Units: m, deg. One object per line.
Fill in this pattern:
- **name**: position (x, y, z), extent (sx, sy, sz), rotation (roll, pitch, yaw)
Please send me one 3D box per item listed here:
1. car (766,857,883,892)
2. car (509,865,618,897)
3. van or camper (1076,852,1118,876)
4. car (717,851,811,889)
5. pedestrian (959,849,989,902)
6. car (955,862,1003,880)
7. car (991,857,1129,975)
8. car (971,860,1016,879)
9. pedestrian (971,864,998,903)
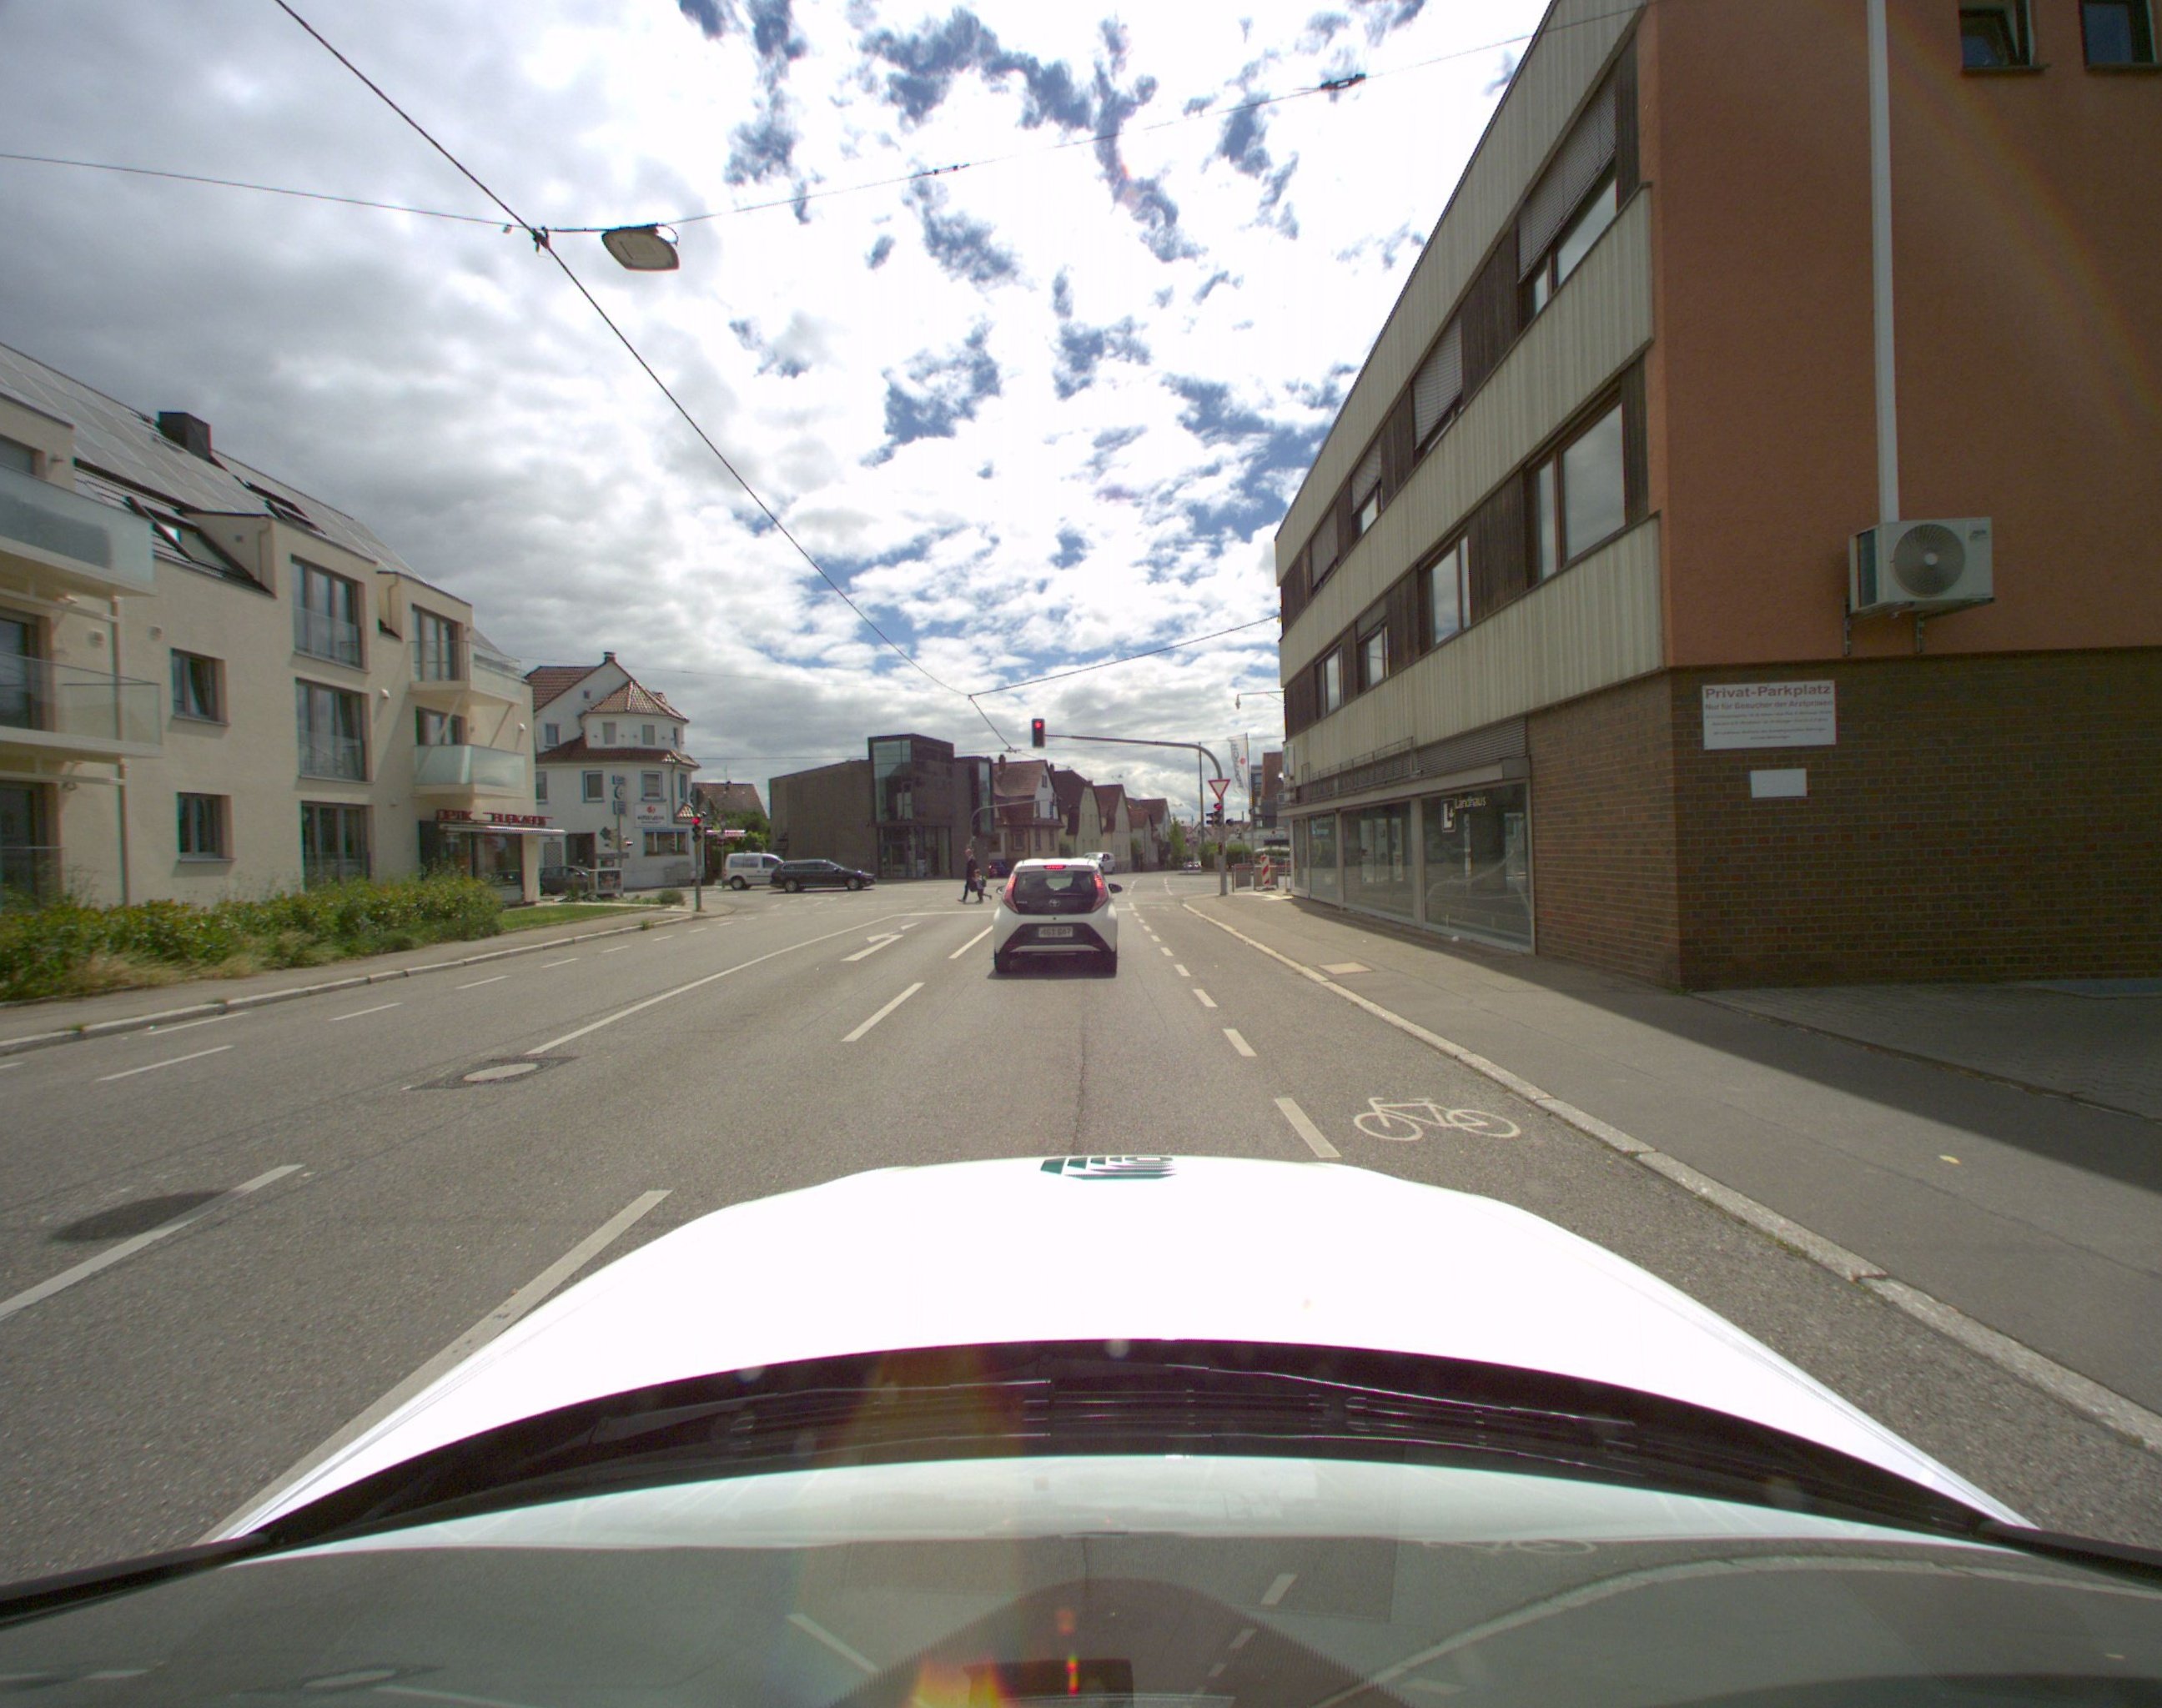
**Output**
- **car**: position (-11.889, 0.929, 38.097), extent (4.892, 1.577, 1.995), rotation (0, 0, -7)
- **car**: position (-24.966, 1.279, 39.469), extent (3.991, 1.486, 1.991), rotation (0, 0, -13)
- **van or camper**: position (1.328, 0.781, 66.190), extent (2.099, 1.926, 5.308), rotation (0, 0, 16)
- **car**: position (-15.790, 0.784, 40.769), extent (4.060, 1.849, 1.993), rotation (0, 0, -11)
- **pedestrian**: position (-3.574, 0.719, 27.219), extent (0.824, 1.721, 0.813), rotation (-1, 0, -17)
- **car**: position (-8.663, 1.431, 69.284), extent (3.590, 1.419, 1.697), rotation (0, 0, 12)
- **car**: position (-0.271, 0.770, 11.703), extent (1.692, 1.456, 3.298), rotation (0, 0, -1)
- **car**: position (-7.699, 1.348, 72.023), extent (3.590, 1.605, 1.697), rotation (0, 0, 12)
- **pedestrian**: position (-3.154, 0.962, 26.583), extent (0.735, 1.221, 0.642), rotation (-1, 0, -17)
